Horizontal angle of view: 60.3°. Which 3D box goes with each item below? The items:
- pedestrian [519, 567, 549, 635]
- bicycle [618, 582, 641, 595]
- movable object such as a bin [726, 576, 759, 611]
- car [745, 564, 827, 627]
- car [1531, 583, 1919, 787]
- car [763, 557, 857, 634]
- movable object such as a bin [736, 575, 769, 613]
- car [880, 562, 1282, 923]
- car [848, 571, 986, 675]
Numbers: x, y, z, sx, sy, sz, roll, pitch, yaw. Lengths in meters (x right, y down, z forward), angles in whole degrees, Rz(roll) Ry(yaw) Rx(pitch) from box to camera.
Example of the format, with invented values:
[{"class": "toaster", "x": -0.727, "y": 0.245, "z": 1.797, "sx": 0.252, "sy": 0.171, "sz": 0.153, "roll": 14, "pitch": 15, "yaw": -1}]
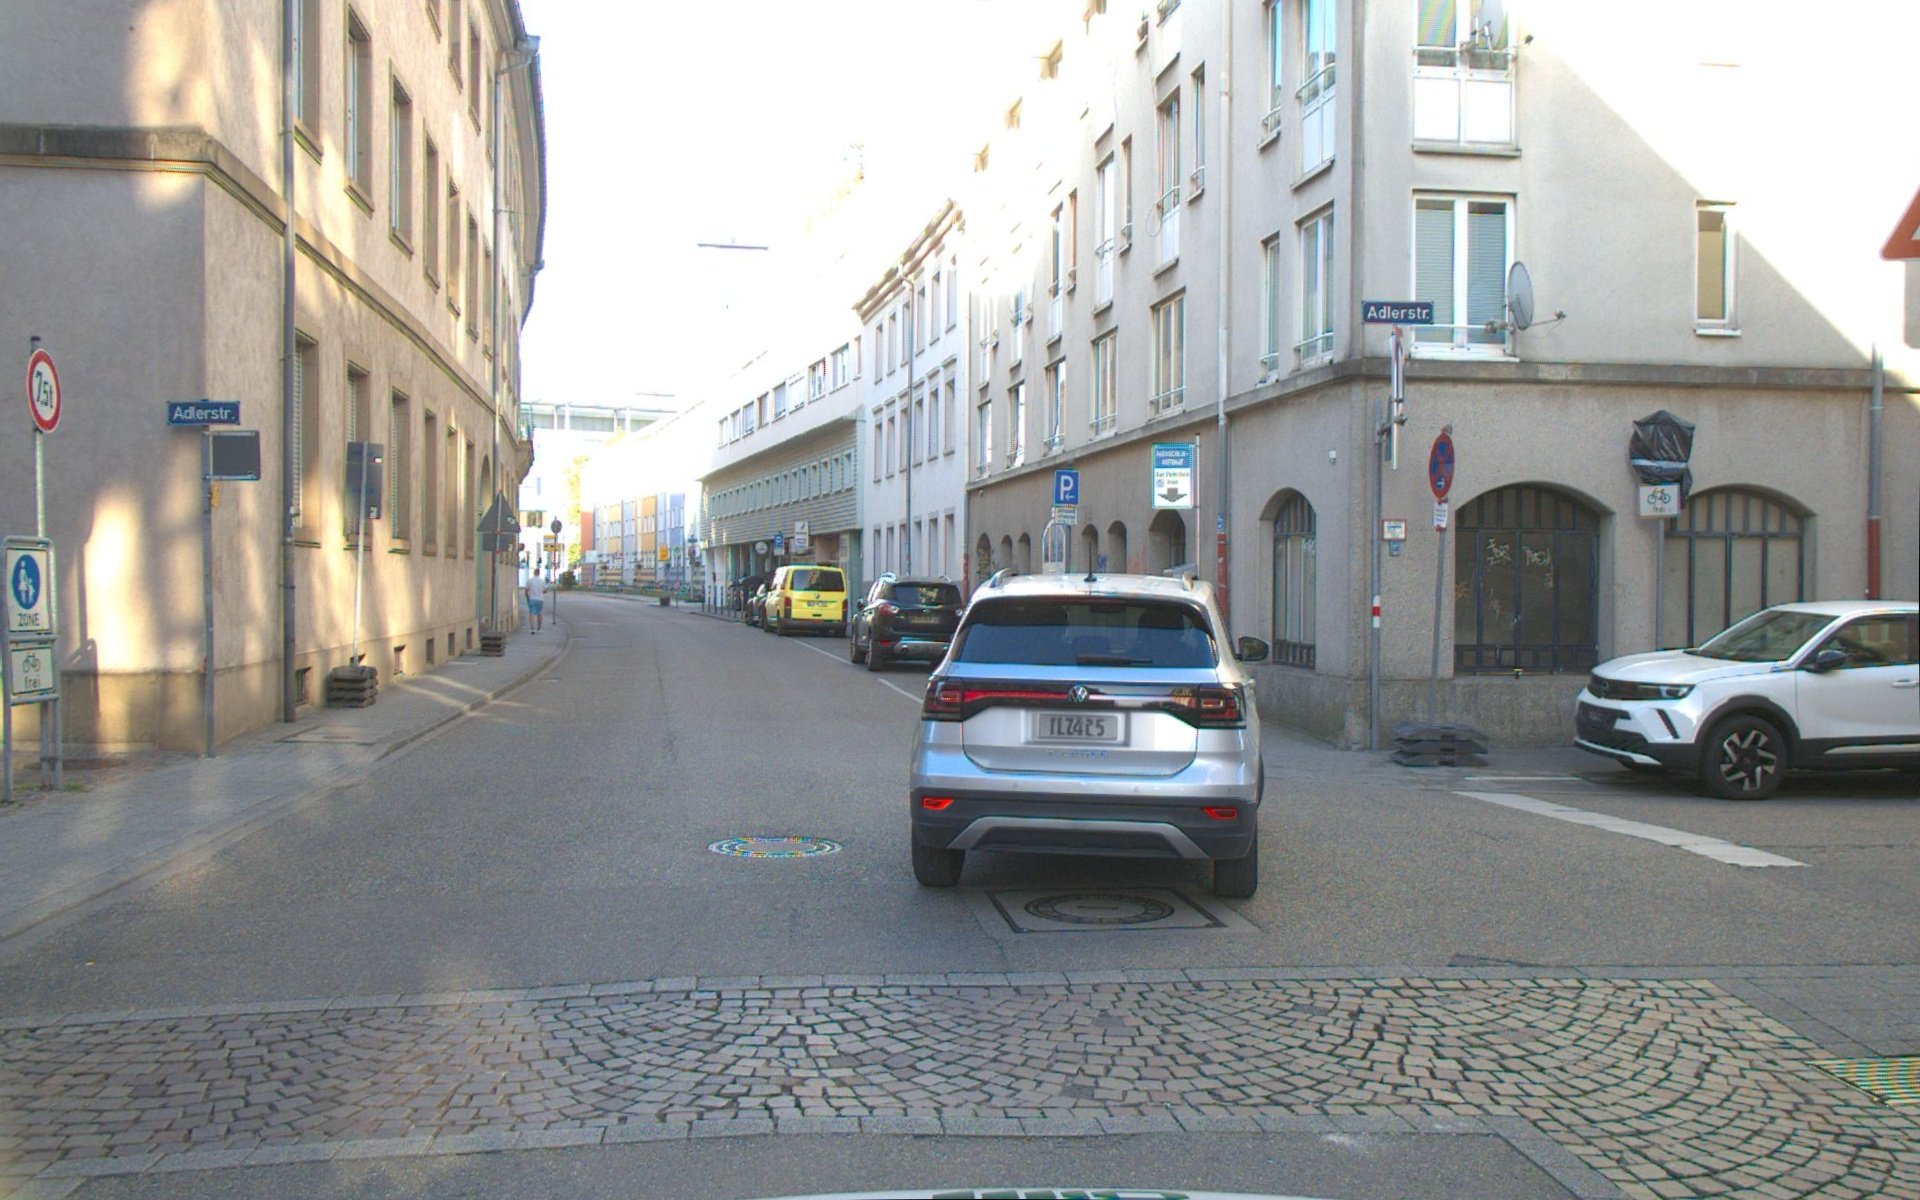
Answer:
[{"class": "pedestrian", "x": -11.025, "y": 0.021, "z": 42.796, "sx": 0.753, "sy": 1.754, "sz": 0.684, "roll": 0, "pitch": 0, "yaw": -16}, {"class": "bicycle", "x": -26.804, "y": -0.926, "z": 134.153, "sx": 1.751, "sy": 1.018, "sz": 0.544, "roll": 0, "pitch": 0, "yaw": -16}, {"class": "movable object such as a bin", "x": -9.486, "y": -0.277, "z": 72.151, "sx": 1.114, "sy": 1.505, "sz": 1.731, "roll": 0, "pitch": 1, "yaw": -18}, {"class": "car", "x": -5.536, "y": -0.157, "z": 52.168, "sx": 2.018, "sy": 1.905, "sz": 4.085, "roll": 0, "pitch": 1, "yaw": -14}, {"class": "car", "x": 7.266, "y": 0.683, "z": 14.064, "sx": 4.132, "sy": 1.580, "sz": 1.900, "roll": 1, "pitch": 1, "yaw": -4}, {"class": "car", "x": -4.257, "y": -0.153, "z": 46.435, "sx": 2.018, "sy": 2.049, "sz": 4.160, "roll": 0, "pitch": 1, "yaw": -14}, {"class": "movable object such as a bin", "x": -8.850, "y": -0.277, "z": 70.475, "sx": 1.114, "sy": 1.585, "sz": 1.731, "roll": 0, "pitch": 1, "yaw": -18}, {"class": "car", "x": 0.851, "y": 0.597, "z": 9.387, "sx": 1.797, "sy": 1.589, "sz": 4.004, "roll": 0, "pitch": 1, "yaw": 9}, {"class": "car", "x": -0.865, "y": 0.359, "z": 30.113, "sx": 1.932, "sy": 1.721, "sz": 4.092, "roll": 1, "pitch": 1, "yaw": -10}]
